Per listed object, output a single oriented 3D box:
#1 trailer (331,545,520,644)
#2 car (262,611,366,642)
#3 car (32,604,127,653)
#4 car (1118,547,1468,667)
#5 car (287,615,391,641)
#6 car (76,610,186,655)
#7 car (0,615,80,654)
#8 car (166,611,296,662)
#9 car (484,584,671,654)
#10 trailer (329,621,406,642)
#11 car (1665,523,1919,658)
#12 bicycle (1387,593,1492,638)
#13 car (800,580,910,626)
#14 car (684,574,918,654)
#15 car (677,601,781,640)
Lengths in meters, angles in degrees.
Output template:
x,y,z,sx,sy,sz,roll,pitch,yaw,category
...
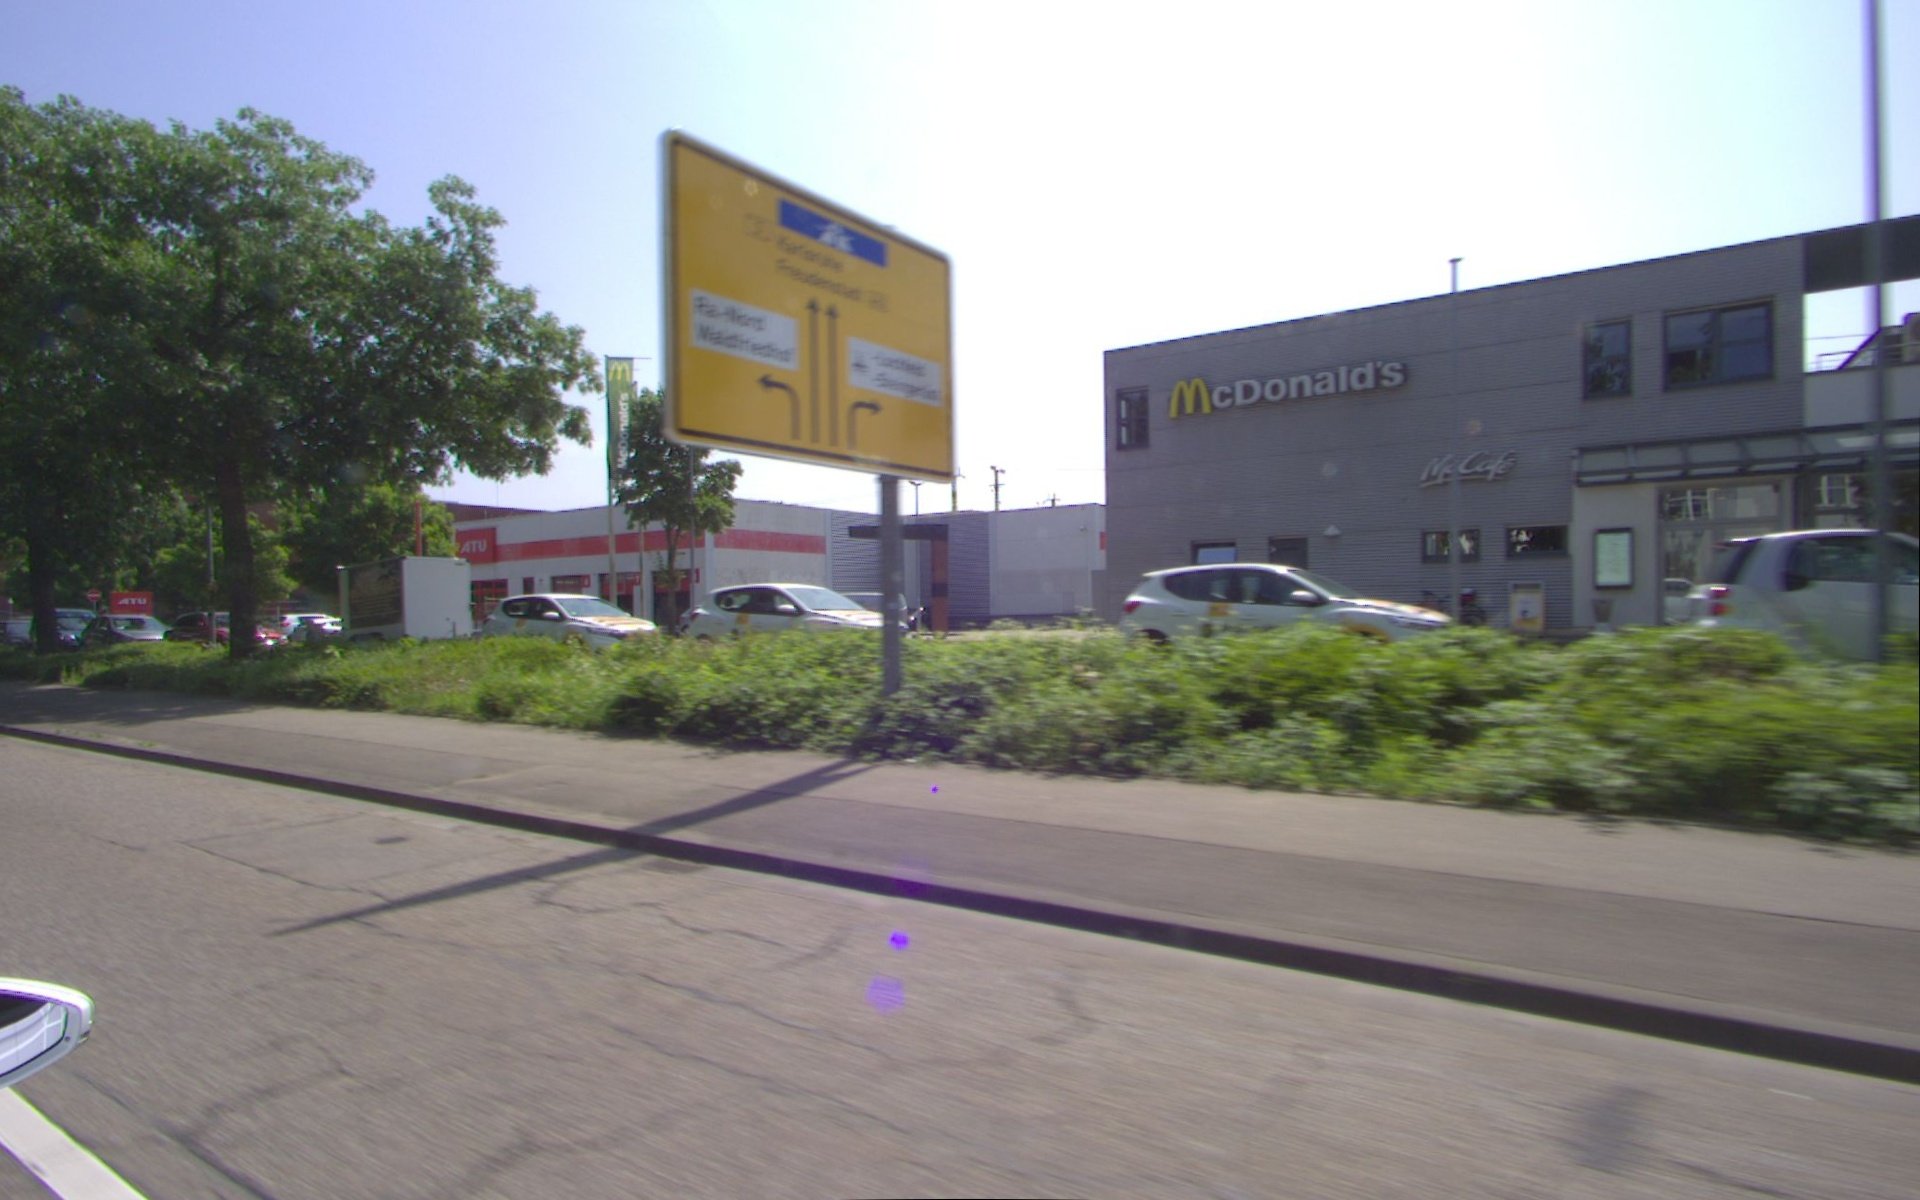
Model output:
x,y,z,sx,sy,sz,roll,pitch,yaw,category
-12.476,-0.065,23.210,5.411,2.082,1.695,-1,-1,36,trailer
-32.578,1.314,50.581,1.914,1.461,3.979,-1,0,32,car
-31.434,1.013,35.722,3.853,1.658,1.696,-2,-1,35,car
4.035,0.148,12.403,3.817,1.269,1.614,-2,-2,37,car
-30.543,1.374,49.335,1.882,1.236,3.979,-2,-2,33,car
-27.141,1.038,32.752,3.850,1.398,1.697,-1,-1,33,car
-35.935,1.344,38.910,4.595,1.443,1.695,-2,-1,37,car
-21.601,1.051,29.620,4.263,1.398,1.697,-1,-1,33,car
-7.524,0.410,19.637,3.579,1.269,1.616,-2,-2,32,car
-27.103,1.467,45.851,1.361,0.922,2.708,-1,-2,33,trailer
8.266,-0.057,9.191,2.815,1.136,1.505,-2,-2,32,car
10.803,0.348,22.602,2.073,0.993,0.587,-1,1,35,bicycle
-4.469,0.155,42.391,4.566,1.829,1.705,-1,0,33,car
-2.640,0.269,16.364,3.686,1.172,1.590,-2,-2,33,car
-8.492,0.757,36.699,3.724,1.357,1.579,-1,0,34,car
